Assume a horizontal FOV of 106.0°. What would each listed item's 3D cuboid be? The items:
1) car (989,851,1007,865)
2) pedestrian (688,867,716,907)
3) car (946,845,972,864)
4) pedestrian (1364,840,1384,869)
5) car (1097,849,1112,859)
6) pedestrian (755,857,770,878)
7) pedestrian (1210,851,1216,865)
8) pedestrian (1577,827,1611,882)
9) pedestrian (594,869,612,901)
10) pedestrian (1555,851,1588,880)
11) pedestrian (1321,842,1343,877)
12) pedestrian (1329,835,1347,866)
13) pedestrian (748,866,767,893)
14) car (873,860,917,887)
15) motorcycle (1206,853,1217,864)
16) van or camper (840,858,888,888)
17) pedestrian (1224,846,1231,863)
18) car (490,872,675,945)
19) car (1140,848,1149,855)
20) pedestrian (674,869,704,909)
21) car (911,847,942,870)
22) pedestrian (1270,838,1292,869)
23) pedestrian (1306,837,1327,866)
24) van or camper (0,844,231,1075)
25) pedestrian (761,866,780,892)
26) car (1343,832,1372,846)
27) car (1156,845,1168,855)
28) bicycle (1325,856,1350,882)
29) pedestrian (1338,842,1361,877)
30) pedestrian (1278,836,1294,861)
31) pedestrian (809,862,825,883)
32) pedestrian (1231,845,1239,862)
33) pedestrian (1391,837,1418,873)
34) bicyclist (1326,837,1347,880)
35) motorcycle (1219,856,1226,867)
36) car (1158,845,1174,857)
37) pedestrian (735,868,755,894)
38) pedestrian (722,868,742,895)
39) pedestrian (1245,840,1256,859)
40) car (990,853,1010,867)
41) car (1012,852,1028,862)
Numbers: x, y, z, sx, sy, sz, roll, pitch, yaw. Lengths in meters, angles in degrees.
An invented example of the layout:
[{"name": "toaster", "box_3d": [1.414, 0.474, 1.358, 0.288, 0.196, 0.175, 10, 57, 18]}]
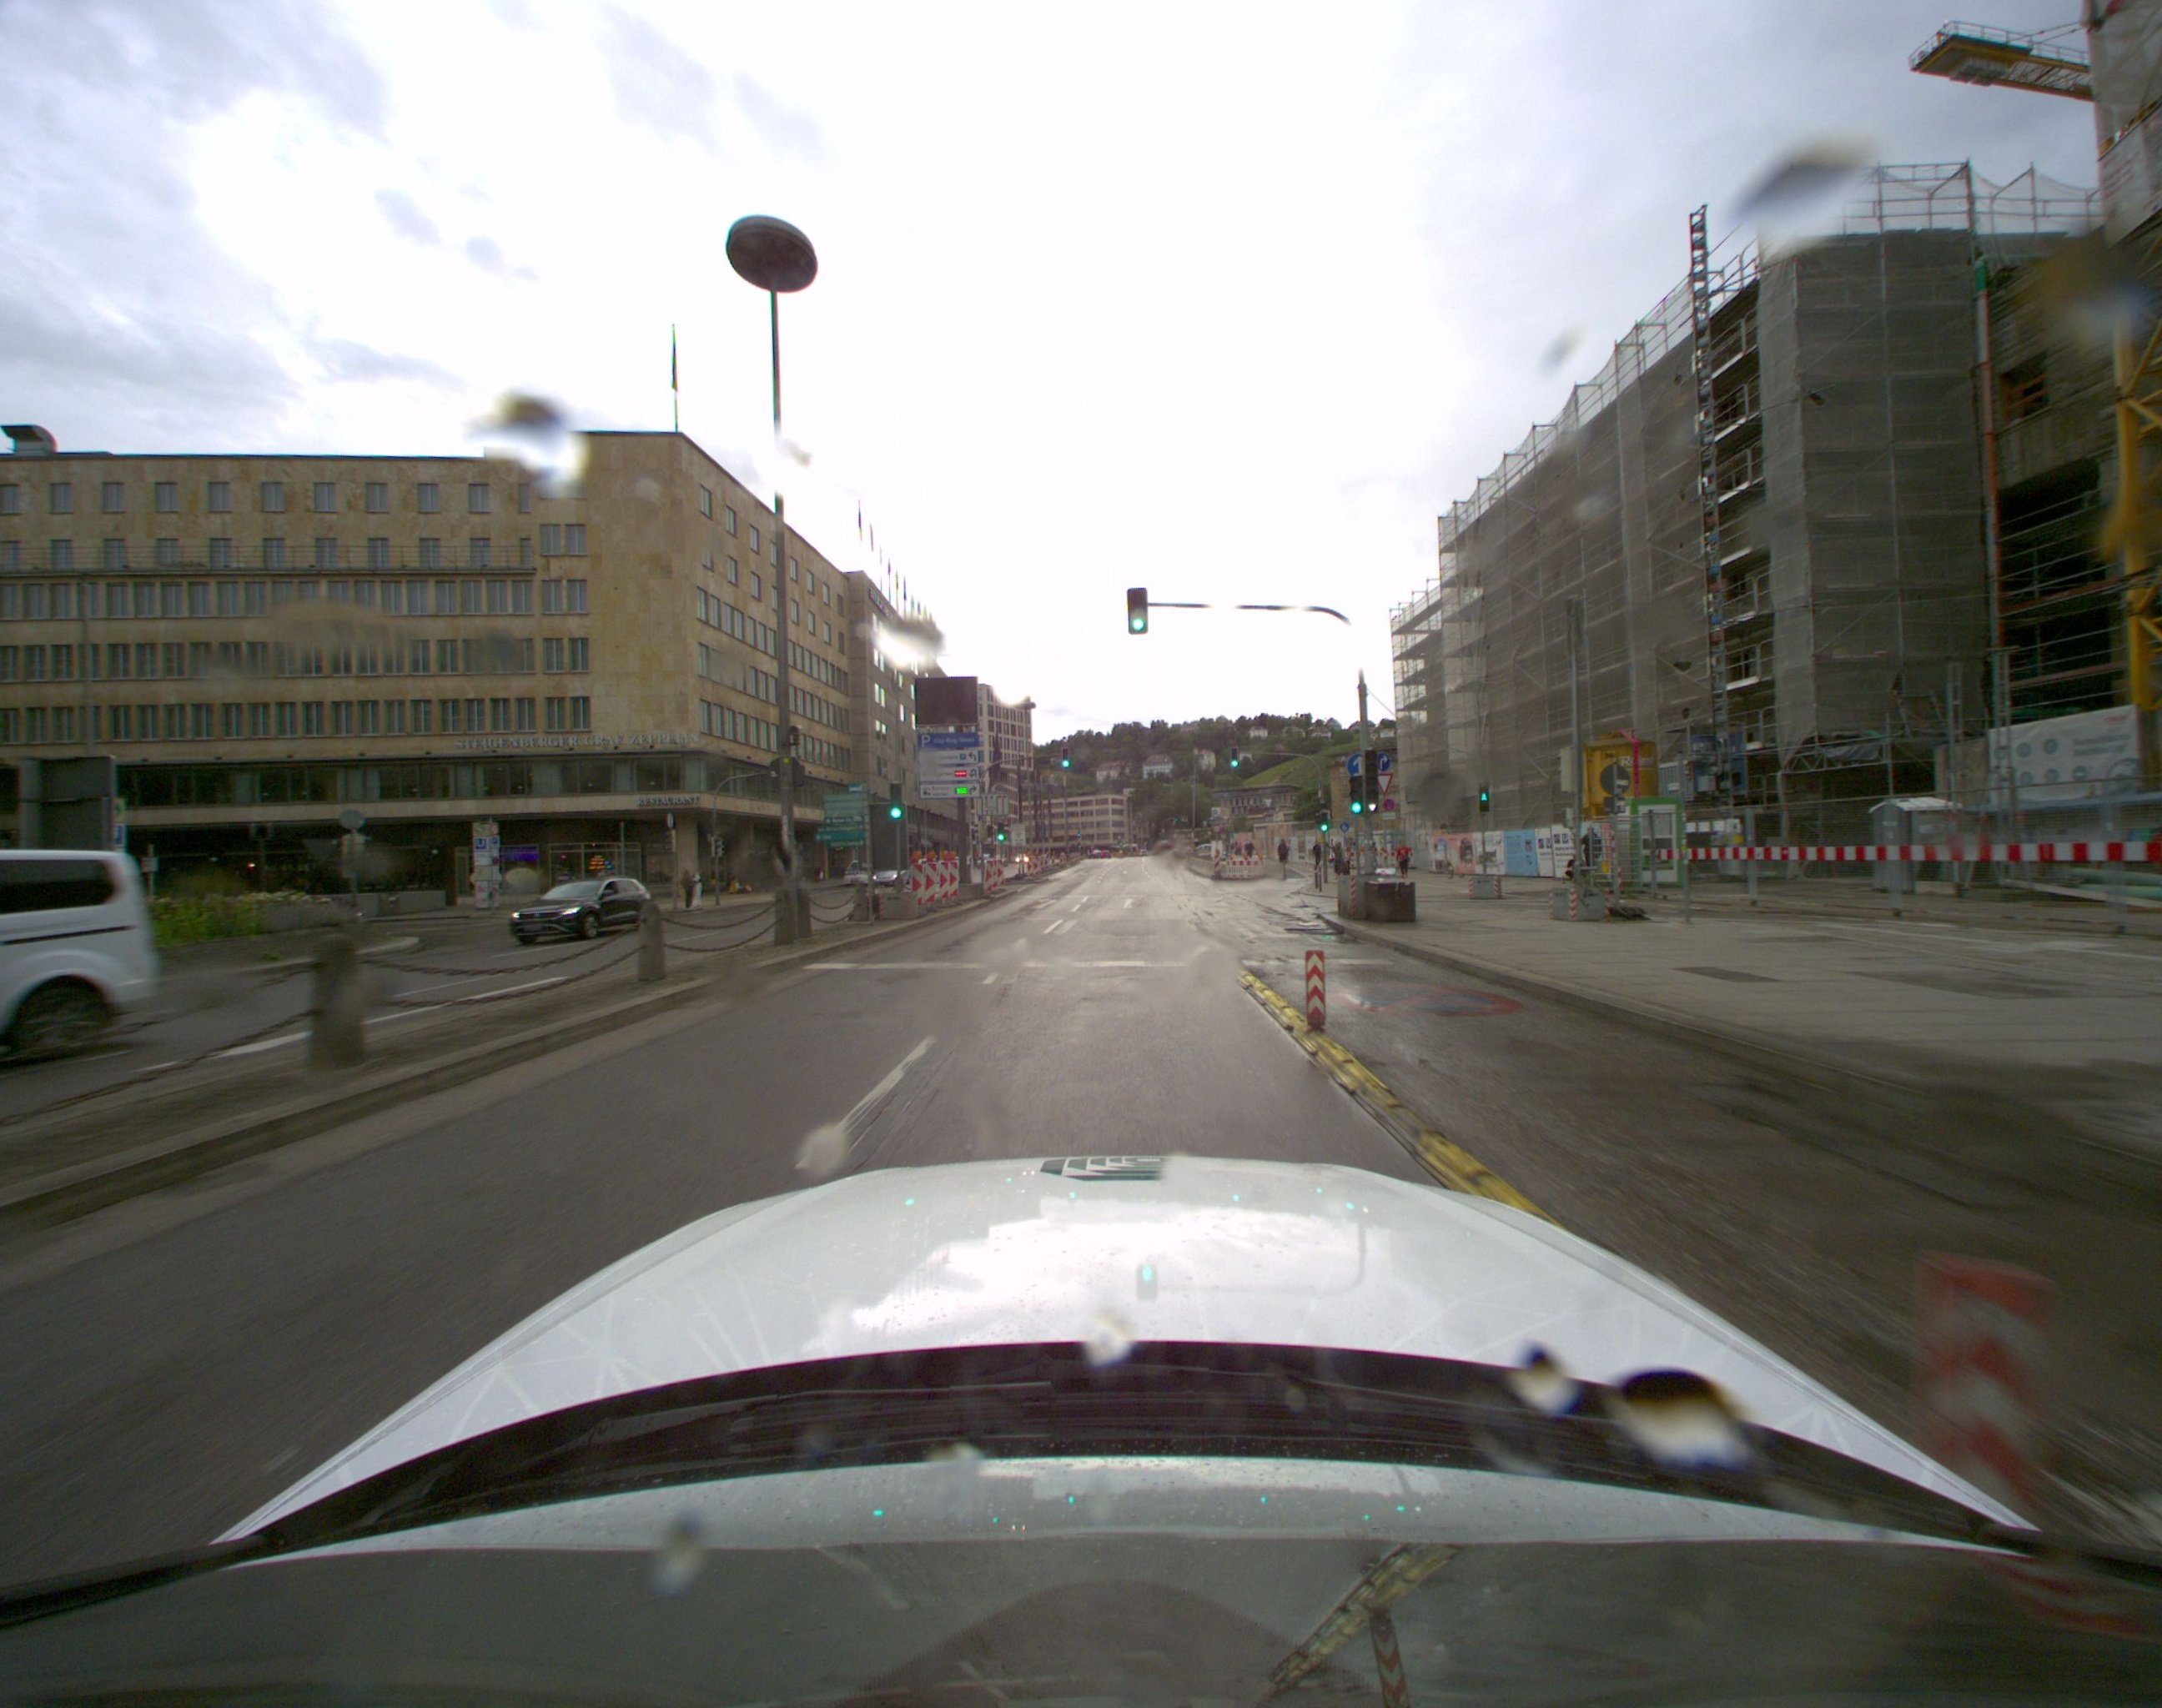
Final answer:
[{"name": "car", "box_3d": [-12.469, 0.556, 121.942, 1.985, 2.013, 4.003, -3, 0, 3]}, {"name": "pedestrian", "box_3d": [-16.655, 1.445, 35.802, 0.753, 1.672, 0.700, -3, -1, 15]}, {"name": "car", "box_3d": [-13.707, 0.016, 91.805, 1.985, 2.013, 4.003, -3, 0, 3]}, {"name": "pedestrian", "box_3d": [17.264, 0.056, 47.985, 0.860, 1.661, 0.798, -3, -1, 4]}, {"name": "car", "box_3d": [4.272, 0.006, 148.353, 1.993, 1.552, 3.987, -2, 0, -9]}, {"name": "pedestrian", "box_3d": [-24.593, 1.036, 62.888, 0.791, 1.526, 0.717, -3, -1, 4]}, {"name": "pedestrian", "box_3d": [17.903, 0.506, 110.703, 0.684, 1.841, 0.616, -3, -1, 7]}, {"name": "pedestrian", "box_3d": [16.190, 0.025, 25.713, 0.698, 1.672, 0.802, -3, -1, 23]}, {"name": "pedestrian", "box_3d": [-27.509, 1.784, 46.895, 0.696, 1.803, 0.756, -2, -1, -16]}, {"name": "pedestrian", "box_3d": [16.360, 0.378, 27.173, 0.788, 0.940, 0.721, -3, -1, 20]}, {"name": "pedestrian", "box_3d": [11.864, 0.261, 38.480, 0.787, 1.608, 0.841, -3, -1, 31]}, {"name": "pedestrian", "box_3d": [15.621, -0.191, 49.506, 0.859, 1.841, 0.800, -3, -1, 12]}, {"name": "pedestrian", "box_3d": [-19.709, 1.548, 49.616, 0.718, 1.557, 0.906, -3, -1, 3]}, {"name": "car", "box_3d": [-12.465, 1.283, 54.681, 1.761, 1.609, 4.228, -3, 0, 2]}, {"name": "motorcycle", "box_3d": [8.745, 0.298, 54.738, 0.401, 0.682, 0.918, -1, 0, -14]}, {"name": "van or camper", "box_3d": [-15.758, 1.337, 59.423, 1.986, 2.013, 4.967, -3, 0, 2]}, {"name": "pedestrian", "box_3d": [16.127, 0.049, 89.626, 0.684, 1.841, 0.616, -3, -1, 7]}, {"name": "car", "box_3d": [-13.233, 1.376, 22.045, 1.986, 1.617, 4.578, -3, 0, 2]}, {"name": "car", "box_3d": [14.223, -0.514, 182.070, 1.813, 1.442, 4.001, -1, 0, 1]}, {"name": "pedestrian", "box_3d": [-16.830, 1.490, 34.982, 0.827, 1.672, 0.706, -3, -1, 15]}, {"name": "car", "box_3d": [-14.846, 0.426, 78.524, 1.985, 2.013, 4.167, -3, 0, 3]}, {"name": "pedestrian", "box_3d": [12.328, -0.045, 50.175, 0.937, 1.841, 0.953, -3, -1, 32]}, {"name": "pedestrian", "box_3d": [15.256, -0.141, 52.767, 0.856, 1.841, 0.955, -3, -1, 45]}, {"name": "van or camper", "box_3d": [-10.462, 0.945, 6.372, 1.985, 2.014, 5.192, -2, -1, 3]}, {"name": "pedestrian", "box_3d": [-18.922, 1.511, 49.582, 0.718, 1.557, 0.896, -3, -1, 3]}, {"name": "car", "box_3d": [43.814, -2.397, 129.136, 3.961, 2.013, 2.006, -3, -1, 11]}, {"name": "car", "box_3d": [14.442, -0.688, 145.537, 1.768, 1.639, 4.003, -3, 0, 3]}, {"name": "bicycle", "box_3d": [11.233, 0.641, 35.730, 0.703, 1.049, 1.810, -1, 1, 7]}, {"name": "pedestrian", "box_3d": [12.516, 0.255, 37.954, 0.787, 1.608, 0.841, -3, -1, 31]}, {"name": "pedestrian", "box_3d": [15.341, -0.414, 60.961, 0.944, 1.841, 0.867, -2, -1, -1]}, {"name": "pedestrian", "box_3d": [-20.029, 1.382, 61.866, 0.791, 1.526, 0.917, -3, -1, 4]}, {"name": "pedestrian", "box_3d": [16.940, -0.006, 89.534, 0.684, 1.841, 0.616, -3, -1, 7]}, {"name": "pedestrian", "box_3d": [15.029, 0.065, 37.830, 0.768, 1.608, 0.860, -2, -1, -12]}, {"name": "bicyclist", "box_3d": [11.228, 0.208, 35.812, 0.699, 1.845, 0.970, -1, -1, 7]}, {"name": "motorcycle", "box_3d": [9.234, 0.507, 53.176, 0.369, 0.722, 0.923, -1, 0, 4]}, {"name": "car", "box_3d": [12.873, -0.444, 123.719, 1.986, 1.706, 4.001, -3, 0, 1]}, {"name": "pedestrian", "box_3d": [-20.507, 1.628, 49.714, 0.718, 1.557, 0.896, -3, -1, 3]}, {"name": "pedestrian", "box_3d": [-21.345, 1.672, 49.812, 0.718, 1.557, 1.006, -3, -1, 3]}, {"name": "pedestrian", "box_3d": [16.454, -0.440, 78.992, 0.941, 1.841, 0.869, -3, -1, 8]}, {"name": "car", "box_3d": [-10.565, 0.801, 106.536, 1.985, 1.750, 4.003, -3, 0, 3]}, {"name": "car", "box_3d": [-9.906, 0.466, 132.152, 1.985, 1.618, 4.003, -3, 0, 3]}]
